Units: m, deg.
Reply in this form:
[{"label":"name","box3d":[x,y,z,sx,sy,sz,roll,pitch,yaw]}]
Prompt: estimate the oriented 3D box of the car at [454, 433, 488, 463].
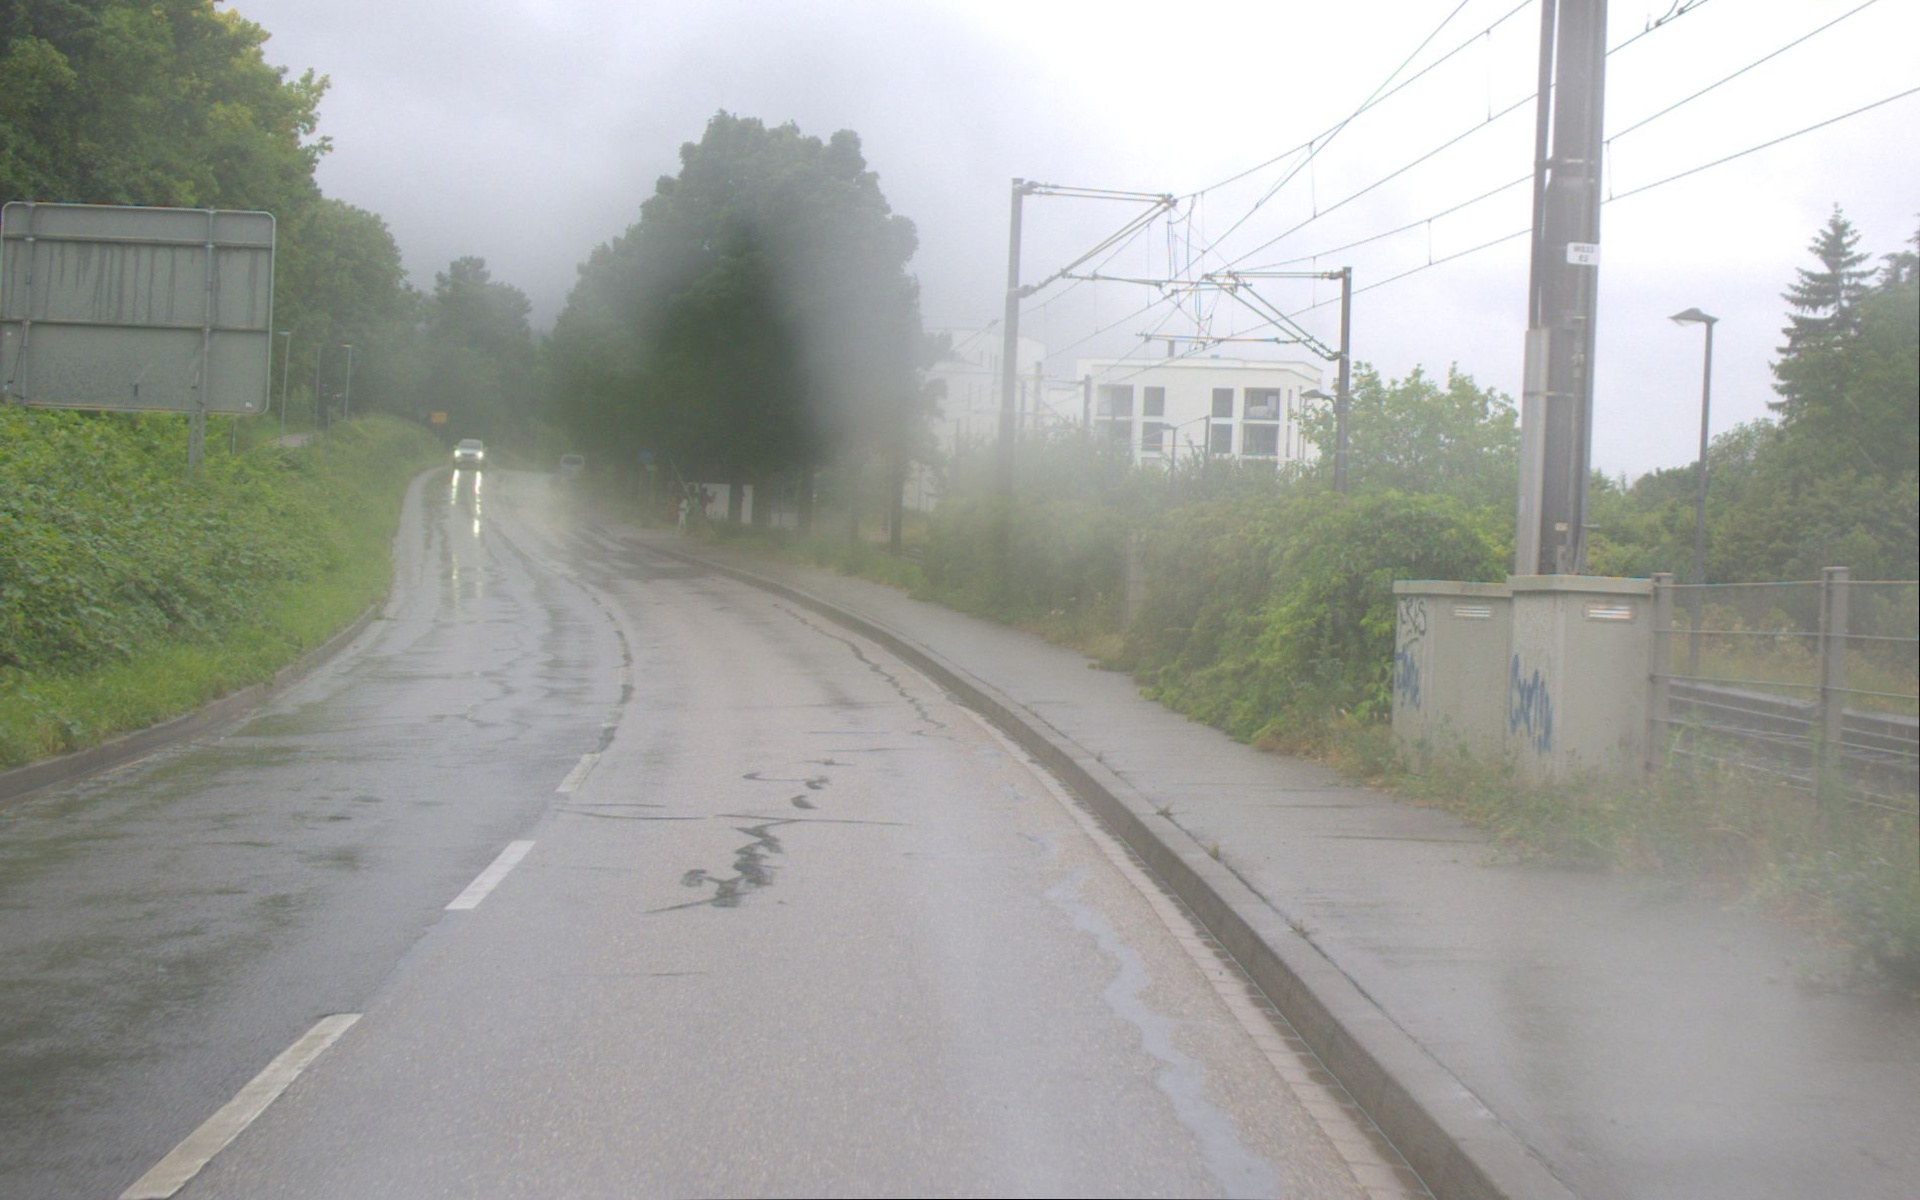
[{"label":"car","box3d":[-28.375,-8.809,199.424,1.744,1.606,4.089,3,3,-7]}]
